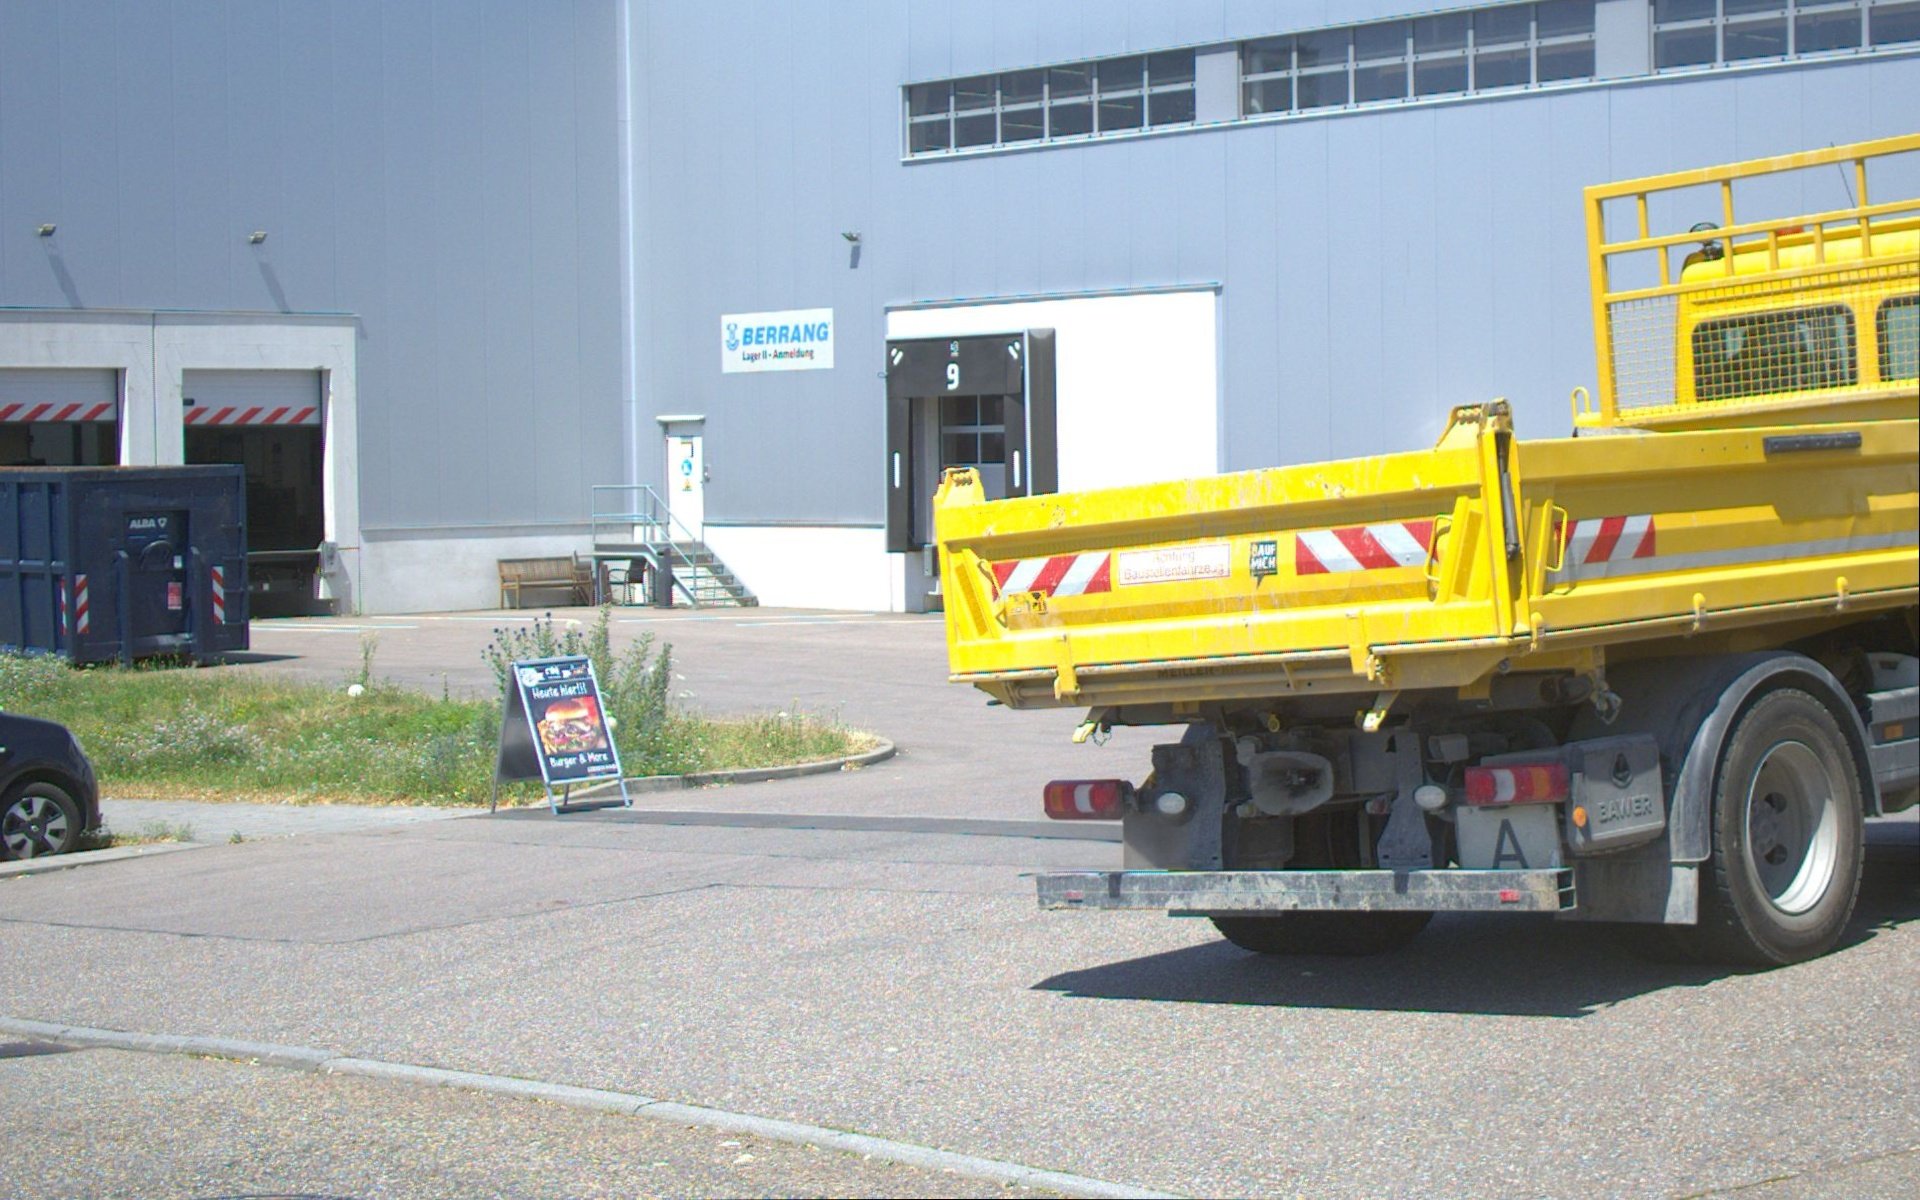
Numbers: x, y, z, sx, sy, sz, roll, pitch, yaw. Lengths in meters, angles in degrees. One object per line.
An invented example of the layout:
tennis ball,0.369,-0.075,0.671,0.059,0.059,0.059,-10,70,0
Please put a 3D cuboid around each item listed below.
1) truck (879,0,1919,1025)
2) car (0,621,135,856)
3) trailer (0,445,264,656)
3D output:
truck,2.954,-0.414,13.614,2.593,3.125,6.409,-3,1,44
car,-7.408,0.983,22.170,3.662,1.457,1.626,-4,2,-42
trailer,-12.064,-0.756,44.645,2.660,2.412,7.412,-1,4,-40
